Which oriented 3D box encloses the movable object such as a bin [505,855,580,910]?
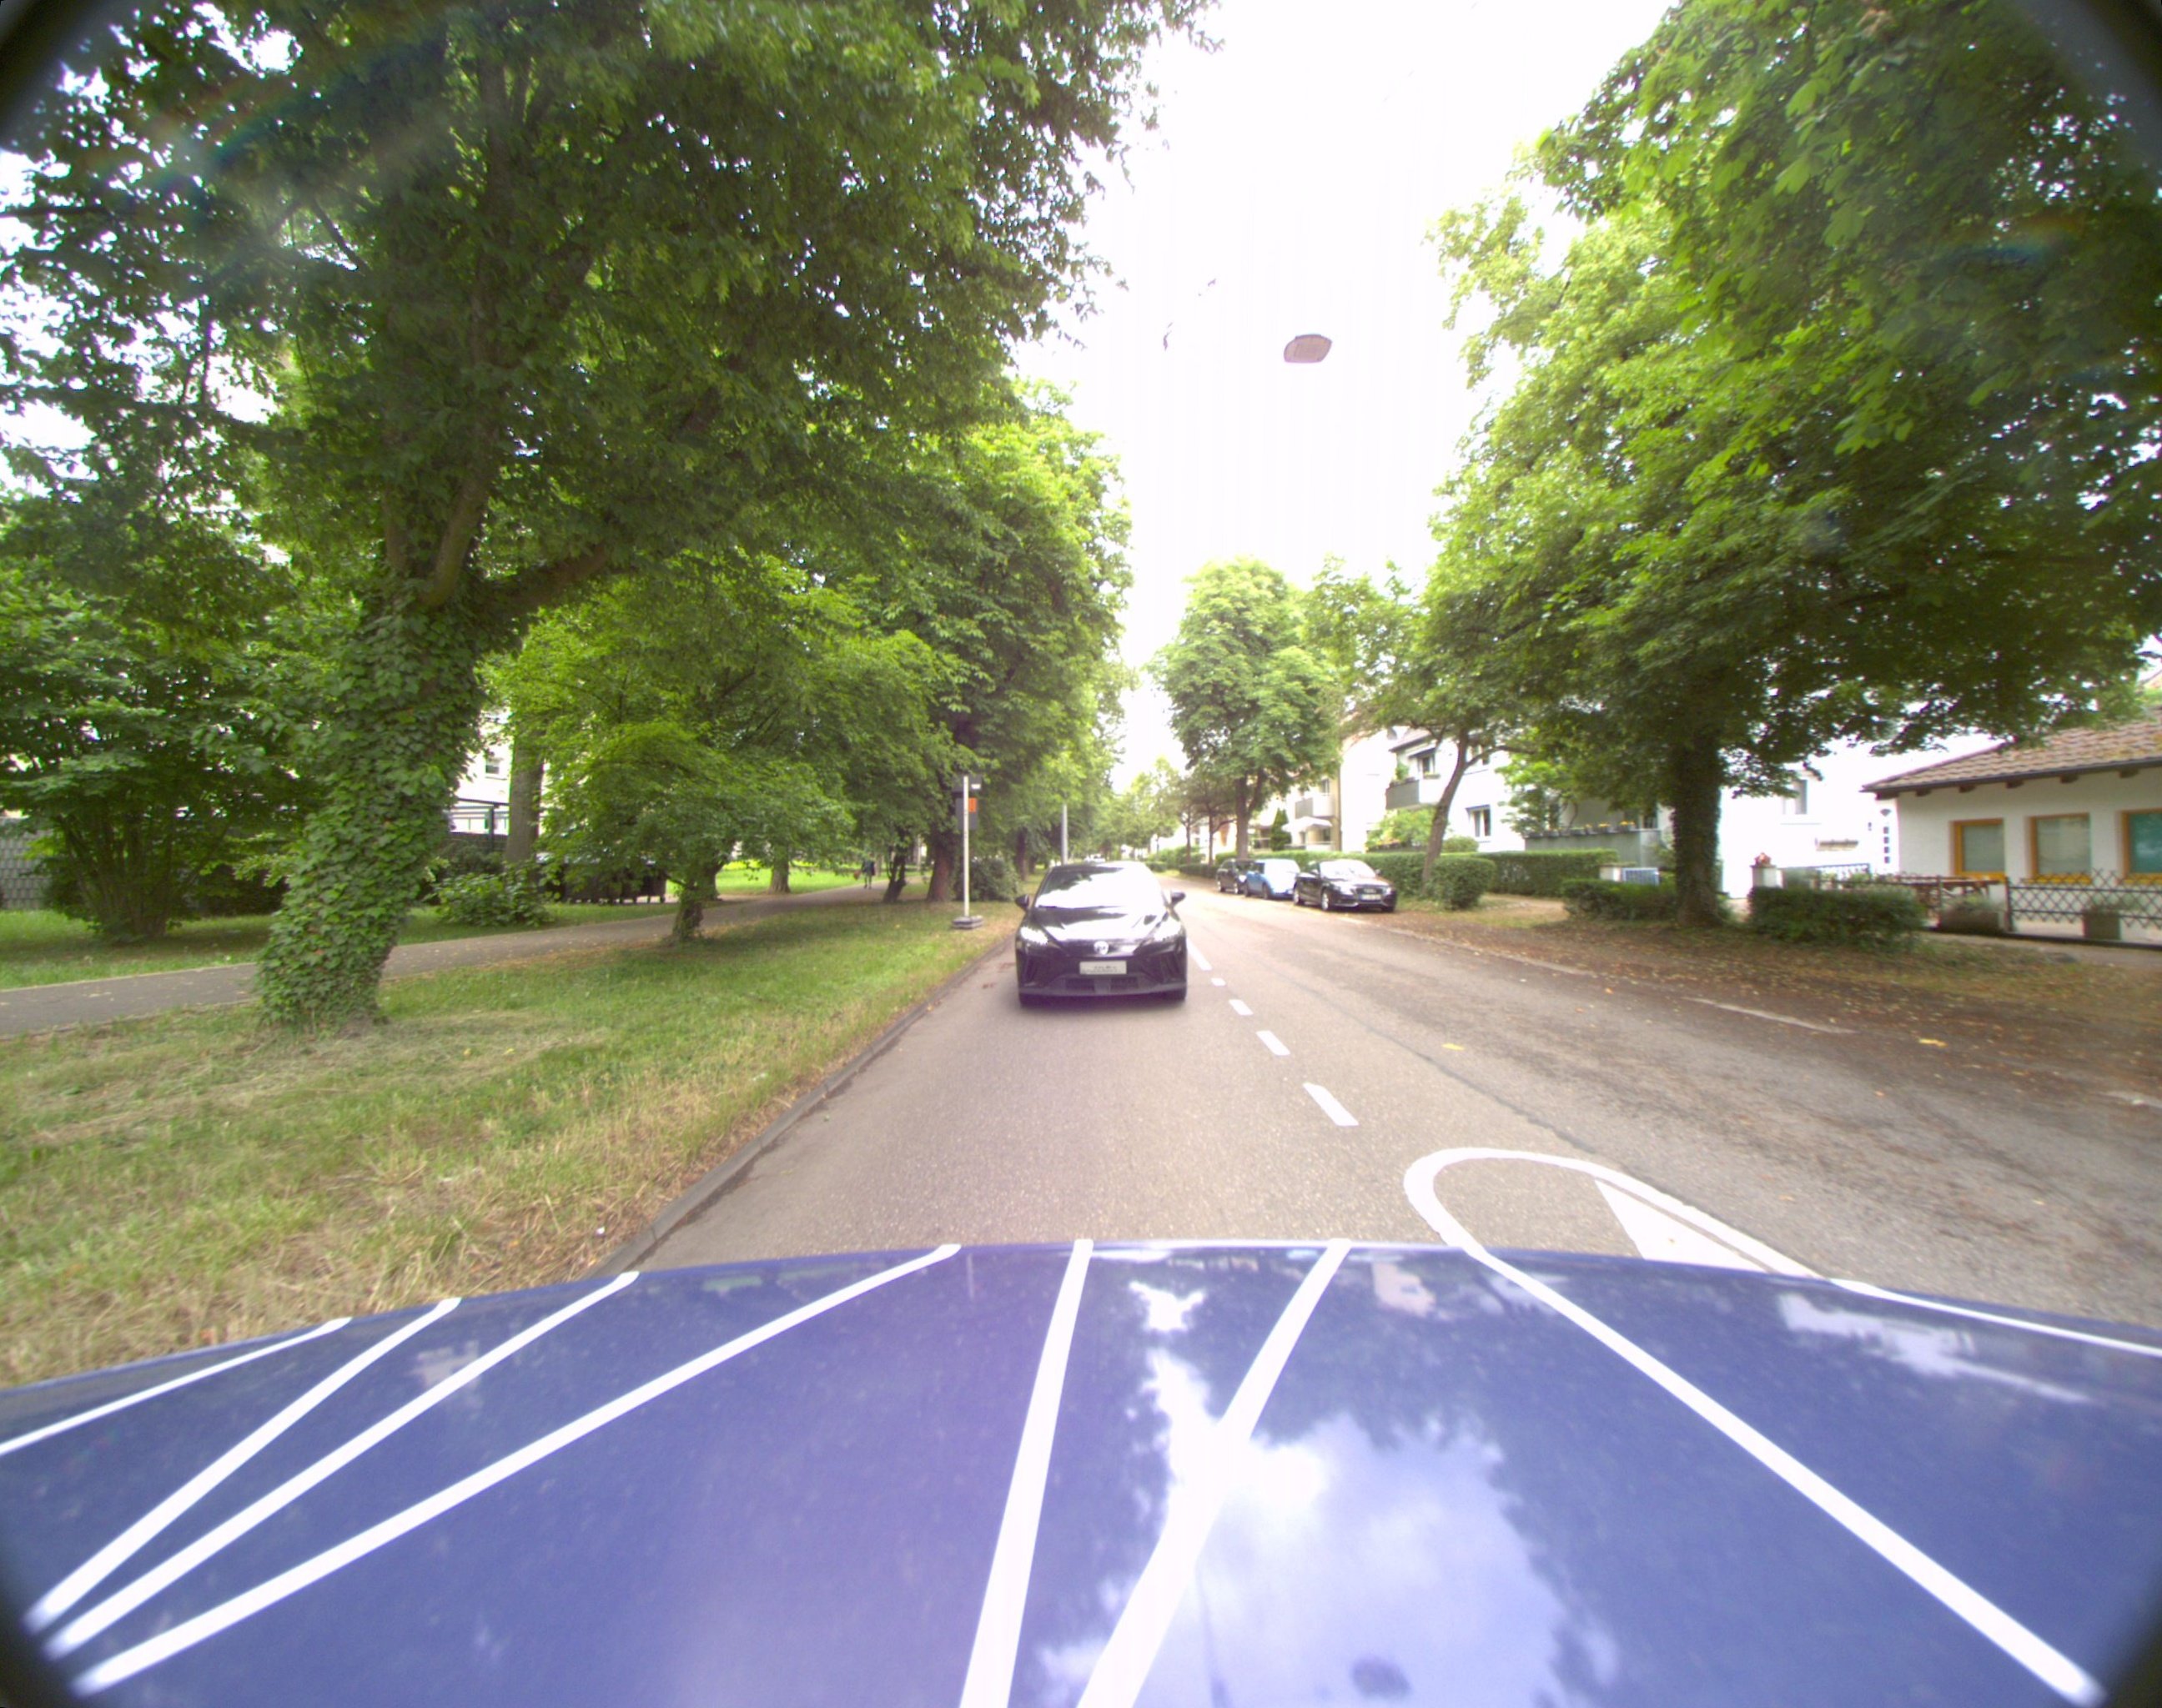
[{"bbox_3d":[-14.686,0.746,20.770,1.194,1.448,1.348,0,0,-8],"label":"movable object such as a bin"}]

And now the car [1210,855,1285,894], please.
[{"bbox_3d":[6.912,0.804,32.033,1.889,1.524,4.564,0,0,-3],"label":"car"}]

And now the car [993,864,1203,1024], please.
[{"bbox_3d":[0.176,0.890,9.569,1.998,1.491,4.615,0,0,0],"label":"car"}]

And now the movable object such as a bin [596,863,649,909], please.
[{"bbox_3d":[-13.361,0.923,22.167,1.026,1.296,0.959,0,0,-8],"label":"movable object such as a bin"}]

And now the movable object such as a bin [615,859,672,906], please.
[{"bbox_3d":[-13.369,0.859,23.261,1.194,1.405,1.110,0,0,-8],"label":"movable object such as a bin"}]

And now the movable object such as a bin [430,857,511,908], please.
[{"bbox_3d":[-16.628,0.763,20.758,1.194,1.334,1.348,0,0,-8],"label":"movable object such as a bin"}]

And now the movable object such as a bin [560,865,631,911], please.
[{"bbox_3d":[-13.371,0.907,20.969,1.194,1.213,1.348,0,0,-8],"label":"movable object such as a bin"}]

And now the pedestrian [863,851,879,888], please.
[{"bbox_3d":[-9.903,0.713,35.903,0.565,1.730,0.570,1,0,-1],"label":"pedestrian"}]

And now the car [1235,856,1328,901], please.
[{"bbox_3d":[7.064,0.817,27.280,1.889,1.492,4.564,0,0,-3],"label":"car"}]

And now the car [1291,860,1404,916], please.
[{"bbox_3d":[7.290,0.870,21.260,1.735,1.395,4.171,0,0,0],"label":"car"}]
